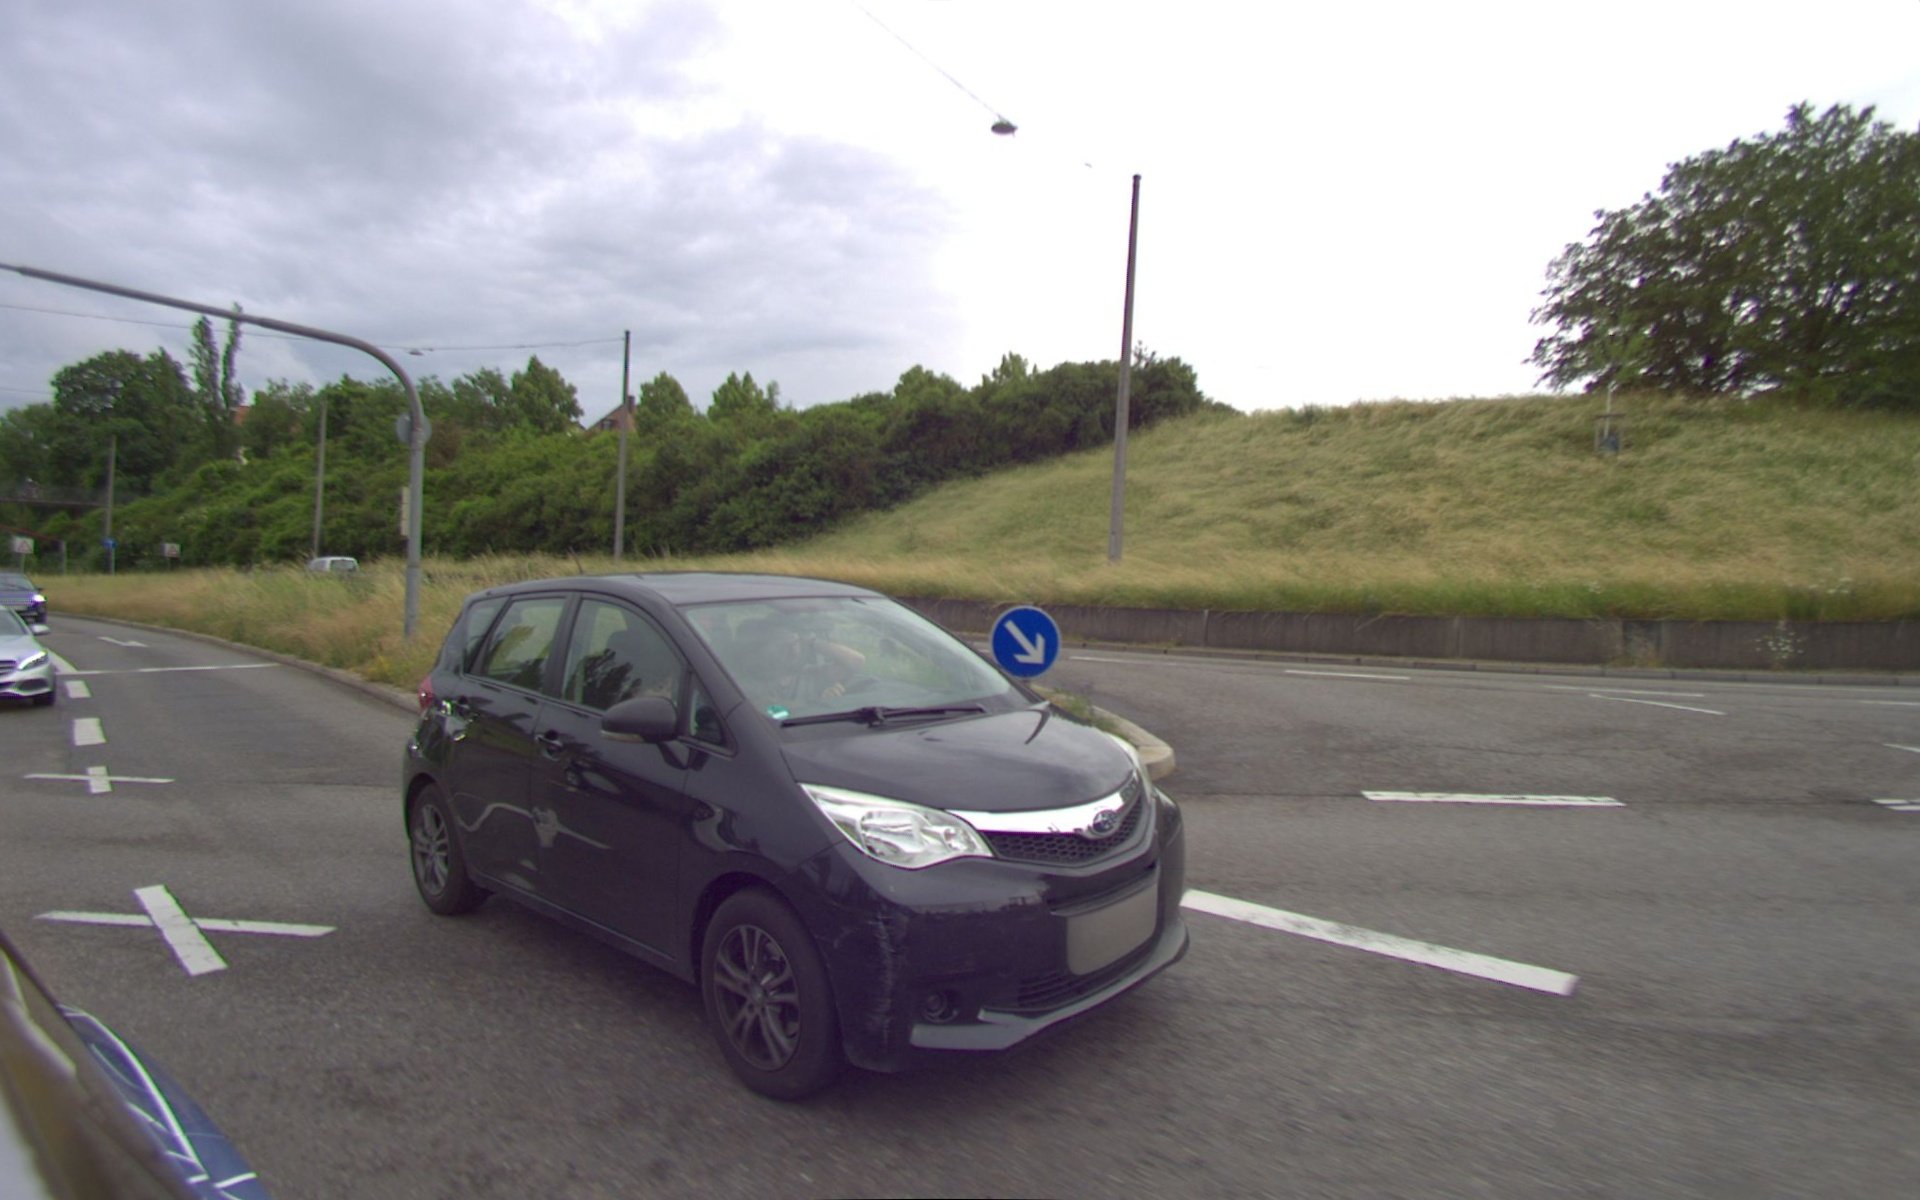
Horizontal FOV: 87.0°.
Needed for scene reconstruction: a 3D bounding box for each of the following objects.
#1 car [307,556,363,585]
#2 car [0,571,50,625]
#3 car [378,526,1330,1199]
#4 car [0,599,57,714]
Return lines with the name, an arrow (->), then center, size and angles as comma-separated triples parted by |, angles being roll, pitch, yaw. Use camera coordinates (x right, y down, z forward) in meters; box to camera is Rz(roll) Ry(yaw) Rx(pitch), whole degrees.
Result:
car -> -32.056, -1.524, 51.887 | 3.229, 1.443, 1.540 | 1, 3, 42
car -> -32.366, -0.074, 34.211 | 4.023, 1.748, 1.902 | 0, 1, 41
car -> -0.791, 0.637, 4.278 | 4.043, 1.577, 1.776 | -1, 0, 43
car -> -14.482, 0.742, 14.486 | 4.525, 1.418, 1.971 | 1, 1, 44
